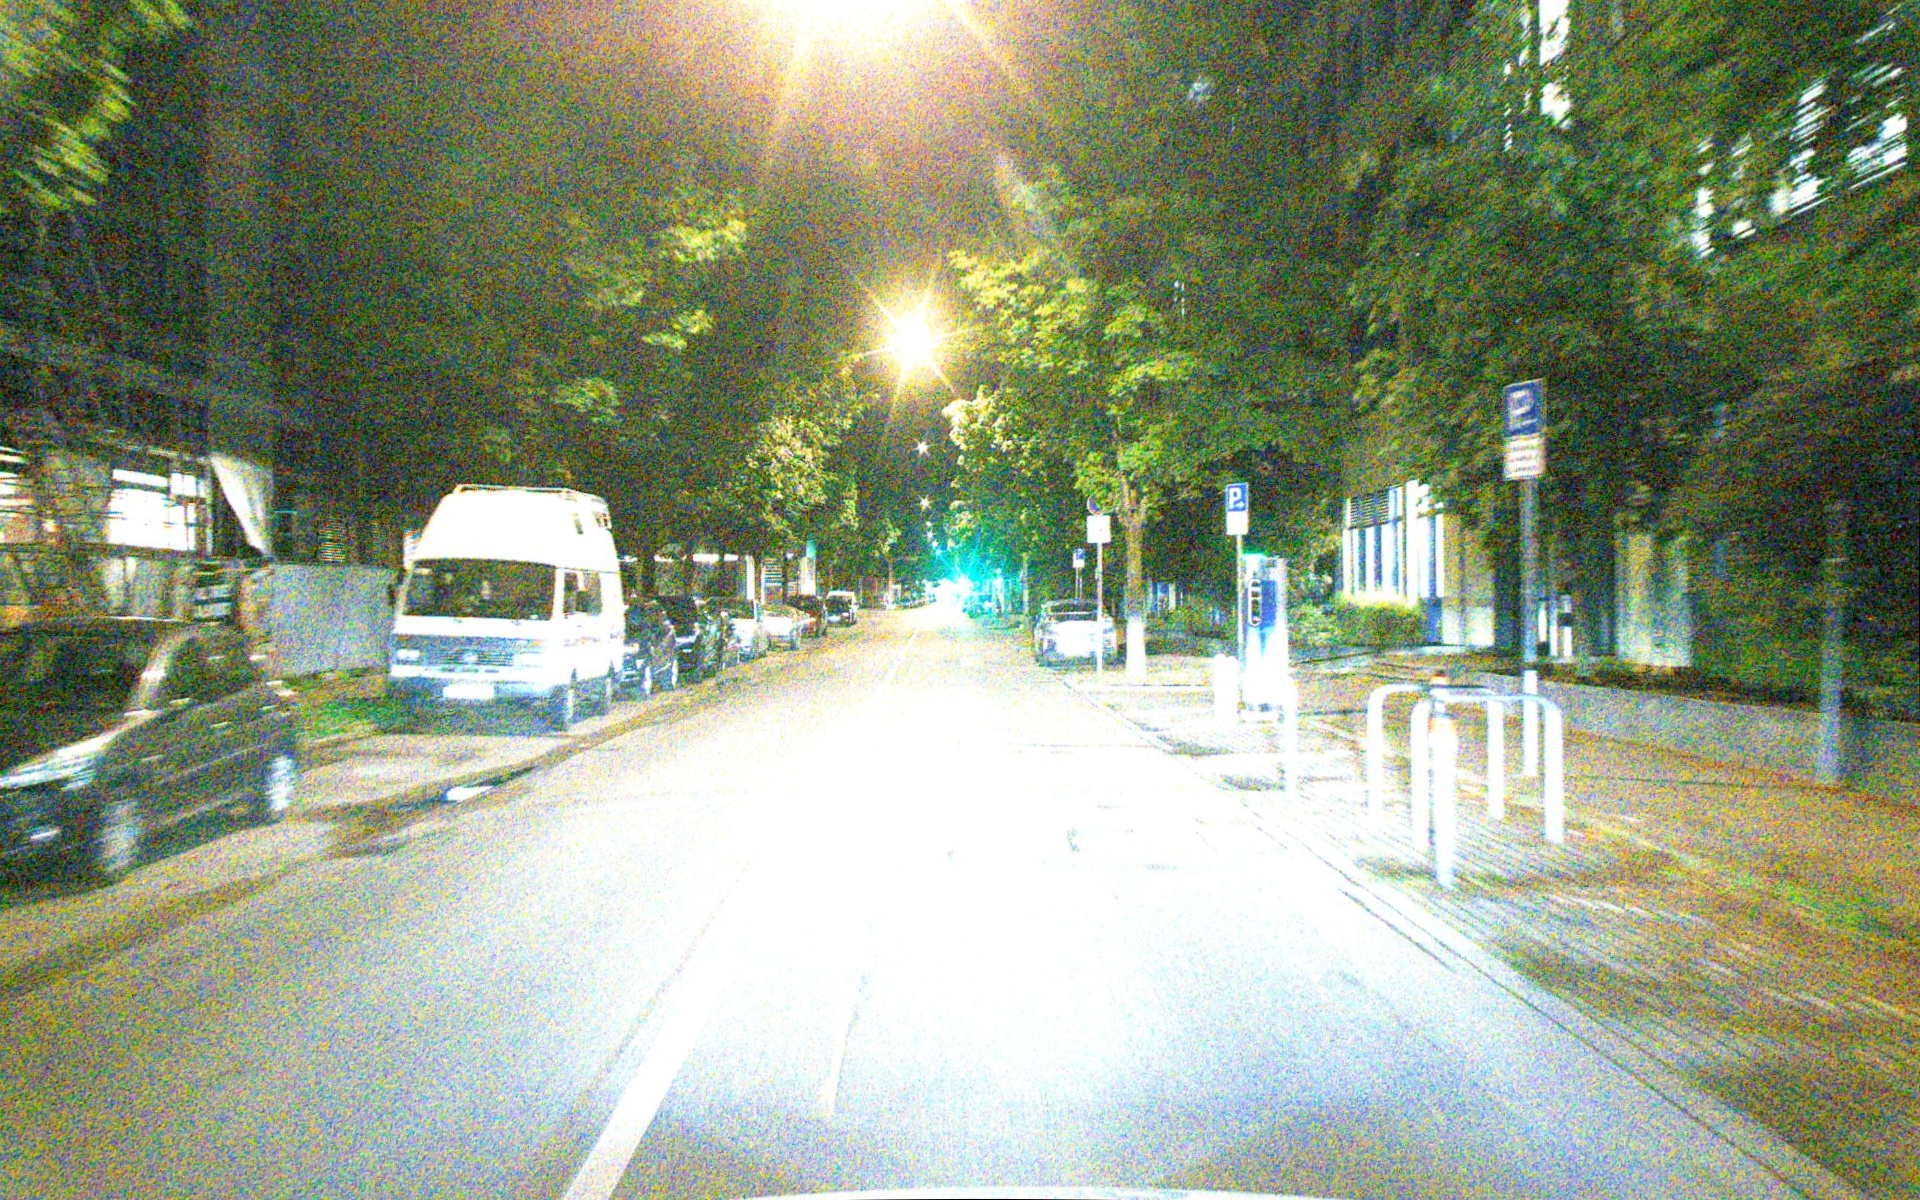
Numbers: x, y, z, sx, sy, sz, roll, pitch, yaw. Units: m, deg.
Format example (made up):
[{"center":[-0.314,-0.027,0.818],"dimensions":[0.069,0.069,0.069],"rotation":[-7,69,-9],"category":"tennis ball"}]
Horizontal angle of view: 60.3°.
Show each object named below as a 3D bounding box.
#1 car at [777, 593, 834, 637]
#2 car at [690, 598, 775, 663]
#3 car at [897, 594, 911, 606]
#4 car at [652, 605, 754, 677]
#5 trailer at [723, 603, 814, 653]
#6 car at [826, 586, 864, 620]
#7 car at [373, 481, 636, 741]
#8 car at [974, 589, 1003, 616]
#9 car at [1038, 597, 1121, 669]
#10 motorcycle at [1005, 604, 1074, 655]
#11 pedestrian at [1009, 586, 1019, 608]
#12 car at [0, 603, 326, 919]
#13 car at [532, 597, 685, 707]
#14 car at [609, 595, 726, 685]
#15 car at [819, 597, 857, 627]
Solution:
[{"center":[-6.092,0.572,65.737],"dimensions":[1.785,1.626,4.073],"rotation":[2,0,0],"category":"car"},{"center":[-5.866,0.757,42.968],"dimensions":[1.681,1.528,4.204],"rotation":[2,0,-2],"category":"car"},{"center":[-7.346,-0.013,216.062],"dimensions":[1.705,1.440,3.752],"rotation":[-1,0,0],"category":"car"},{"center":[-5.827,0.893,37.962],"dimensions":[1.670,1.436,4.632],"rotation":[-1,1,-1],"category":"car"},{"center":[-5.816,0.817,50.842],"dimensions":[2.067,1.358,5.435],"rotation":[2,0,0],"category":"trailer"},{"center":[-6.567,0.175,95.172],"dimensions":[1.785,1.843,4.210],"rotation":[2,0,0],"category":"car"},{"center":[-5.688,0.113,21.365],"dimensions":[2.135,2.960,4.908],"rotation":[1,0,-2],"category":"car"},{"center":[1.836,0.167,108.391],"dimensions":[1.815,1.683,4.209],"rotation":[-1,0,0],"category":"car"},{"center":[2.695,0.707,37.943],"dimensions":[1.634,1.454,4.149],"rotation":[-3,0,1],"category":"car"},{"center":[2.112,0.781,44.174],"dimensions":[0.914,1.306,2.216],"rotation":[-1,0,-25],"category":"motorcycle"},{"center":[4.282,-0.248,130.560],"dimensions":[0.691,1.751,0.821],"rotation":[-2,0,-1],"category":"pedestrian"},{"center":[-5.496,0.831,10.389],"dimensions":[1.612,1.531,3.860],"rotation":[1,1,-2],"category":"car"},{"center":[-5.660,0.779,27.065],"dimensions":[1.706,1.634,4.114],"rotation":[1,0,-1],"category":"car"},{"center":[-5.655,0.731,32.428],"dimensions":[1.707,1.634,4.296],"rotation":[1,0,-3],"category":"car"},{"center":[-6.441,0.632,87.602],"dimensions":[1.665,1.458,3.828],"rotation":[2,0,0],"category":"car"}]
